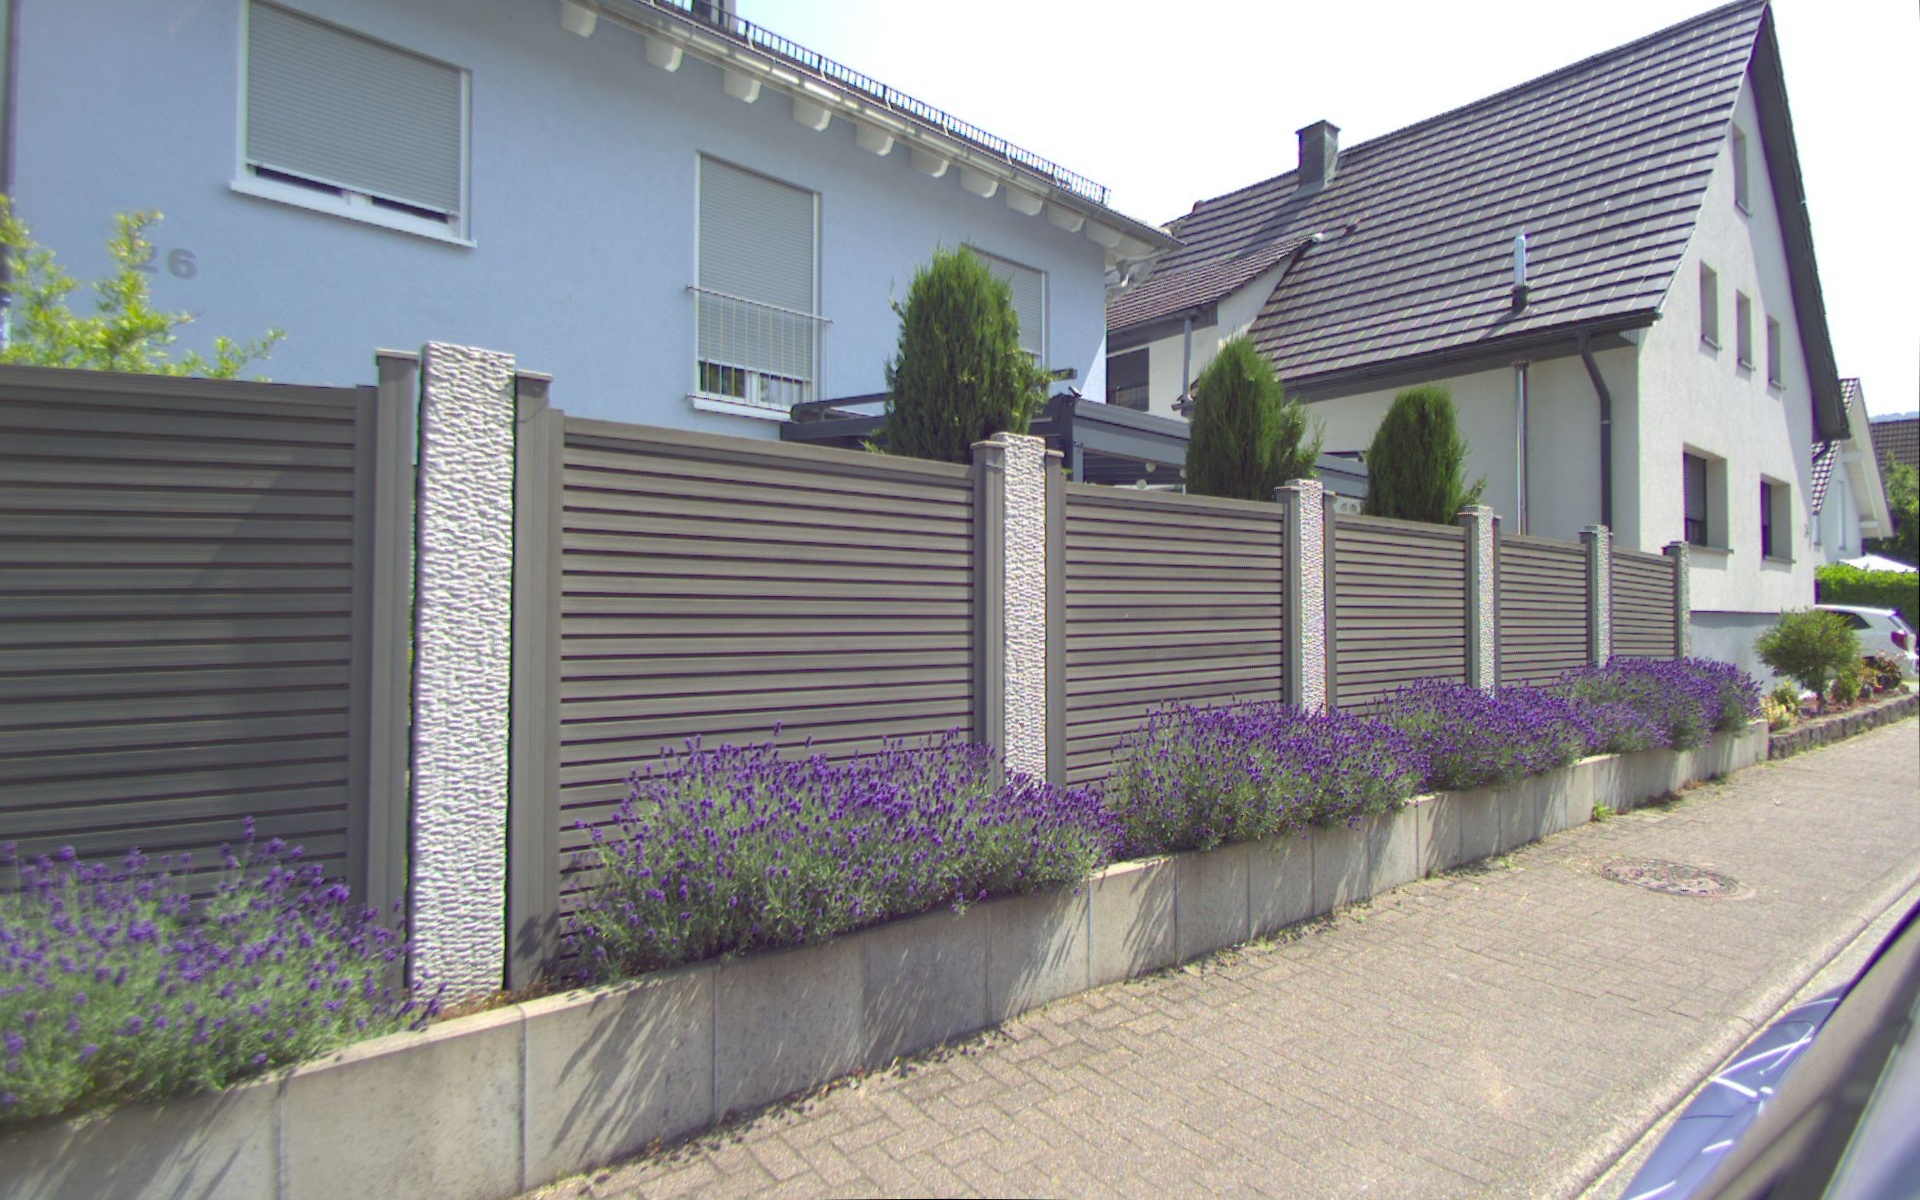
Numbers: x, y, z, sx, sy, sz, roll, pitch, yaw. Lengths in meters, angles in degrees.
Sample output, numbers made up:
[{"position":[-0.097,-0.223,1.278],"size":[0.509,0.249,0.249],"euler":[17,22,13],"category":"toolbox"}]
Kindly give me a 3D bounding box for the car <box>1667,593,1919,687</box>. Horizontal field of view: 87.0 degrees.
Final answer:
[{"position":[15.454,0.682,18.650],"size":[1.735,1.493,3.663],"euler":[2,0,-42],"category":"car"}]
